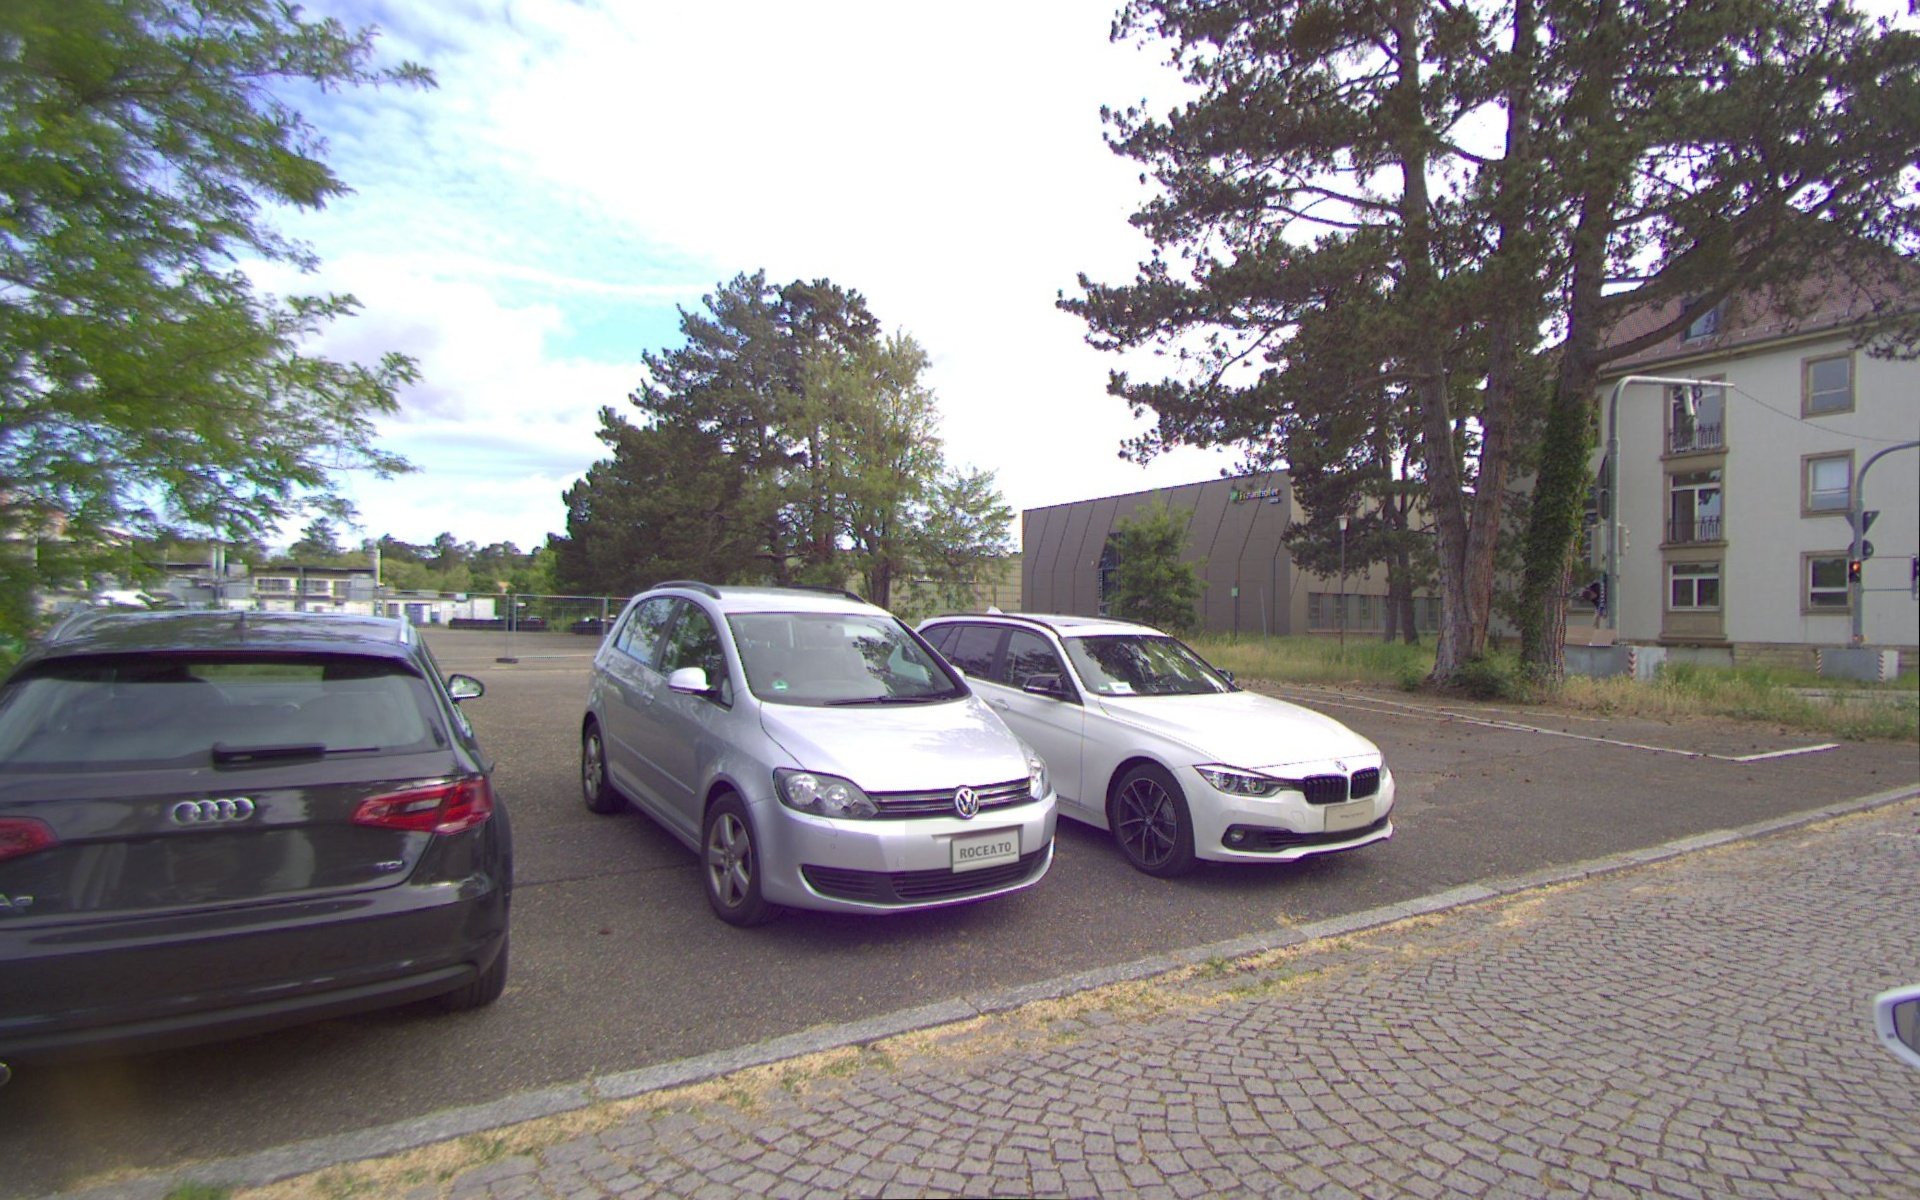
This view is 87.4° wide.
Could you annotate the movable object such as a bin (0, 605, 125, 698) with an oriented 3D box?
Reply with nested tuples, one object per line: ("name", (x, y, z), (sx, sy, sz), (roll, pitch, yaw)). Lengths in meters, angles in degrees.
("movable object such as a bin", (-12.848, 0.667, 13.823), (1.480, 1.176, 2.384), (1, -1, -25))

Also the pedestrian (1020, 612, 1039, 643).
("pedestrian", (4.723, 1.874, 68.194), (0.891, 2.040, 0.914), (1, -1, -31))

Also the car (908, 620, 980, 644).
("car", (-1.071, 2.131, 66.804), (4.405, 1.449, 1.985), (-1, 0, -29))

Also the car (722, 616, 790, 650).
("car", (-9.134, 1.447, 44.740), (1.678, 1.410, 3.965), (1, -1, -32))

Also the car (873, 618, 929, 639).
("car", (-4.290, 2.085, 73.494), (3.615, 1.449, 1.985), (-1, 0, -29))

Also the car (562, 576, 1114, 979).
("car", (-1.066, 0.695, 6.161), (1.707, 1.568, 3.961), (1, 1, -34))

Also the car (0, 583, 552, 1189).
("car", (-3.076, 0.718, 4.463), (1.731, 1.447, 3.966), (1, 1, -31))

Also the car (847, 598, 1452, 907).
("car", (1.009, 0.805, 7.633), (1.783, 1.463, 4.618), (1, 1, -34))
